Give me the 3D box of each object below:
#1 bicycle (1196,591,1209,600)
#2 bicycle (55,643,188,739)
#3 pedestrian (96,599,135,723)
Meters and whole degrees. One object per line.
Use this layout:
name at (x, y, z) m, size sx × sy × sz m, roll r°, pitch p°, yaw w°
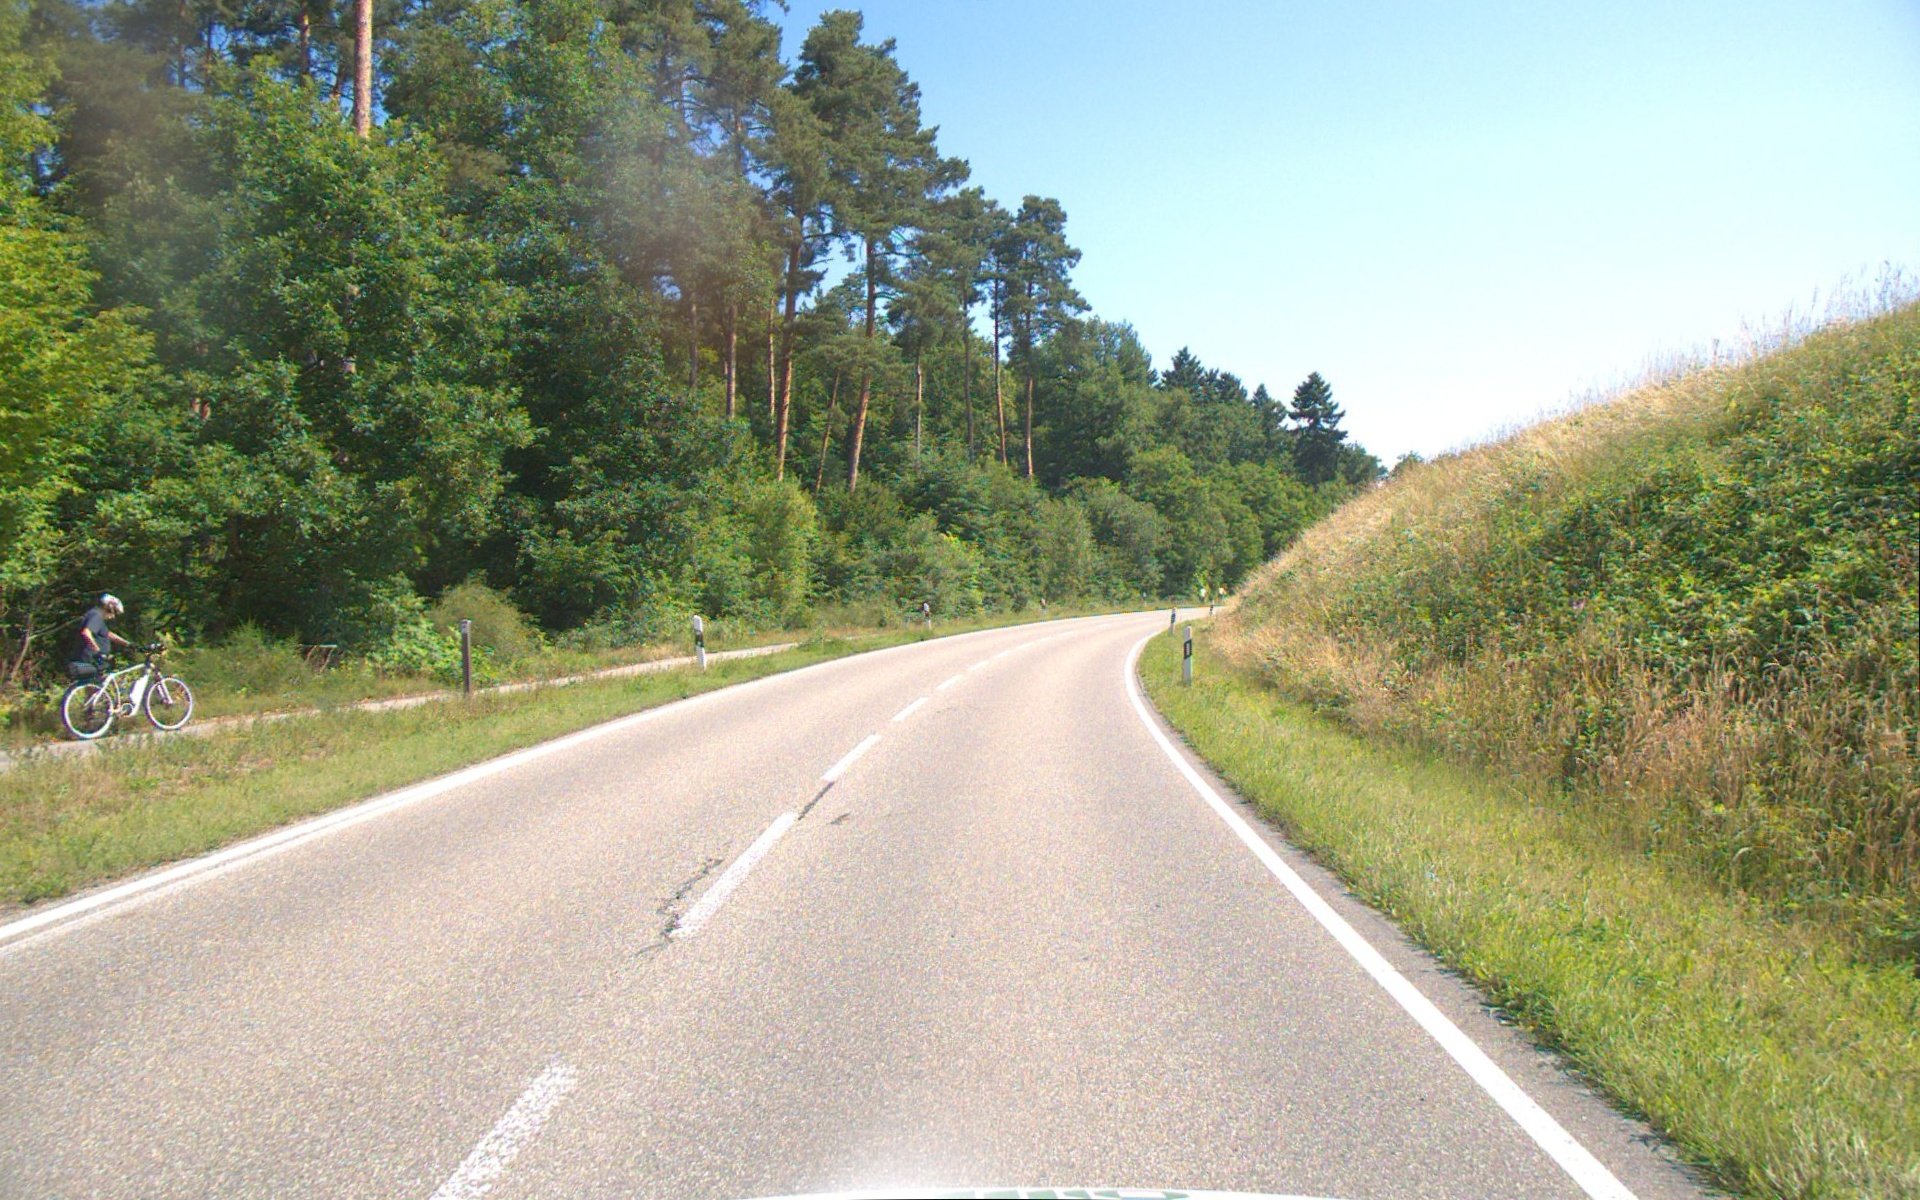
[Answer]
bicycle at (19.808, -0.358, 135.070) m, size 0.606 × 0.693 × 2.136 m, roll -1°, pitch 0°, yaw 23°
bicycle at (-10.695, 1.138, 21.131) m, size 0.569 × 1.105 × 1.444 m, roll 2°, pitch 2°, yaw 30°
pedestrian at (-10.848, 0.774, 21.251) m, size 0.278 × 1.565 × 0.390 m, roll -1°, pitch 0°, yaw -3°
